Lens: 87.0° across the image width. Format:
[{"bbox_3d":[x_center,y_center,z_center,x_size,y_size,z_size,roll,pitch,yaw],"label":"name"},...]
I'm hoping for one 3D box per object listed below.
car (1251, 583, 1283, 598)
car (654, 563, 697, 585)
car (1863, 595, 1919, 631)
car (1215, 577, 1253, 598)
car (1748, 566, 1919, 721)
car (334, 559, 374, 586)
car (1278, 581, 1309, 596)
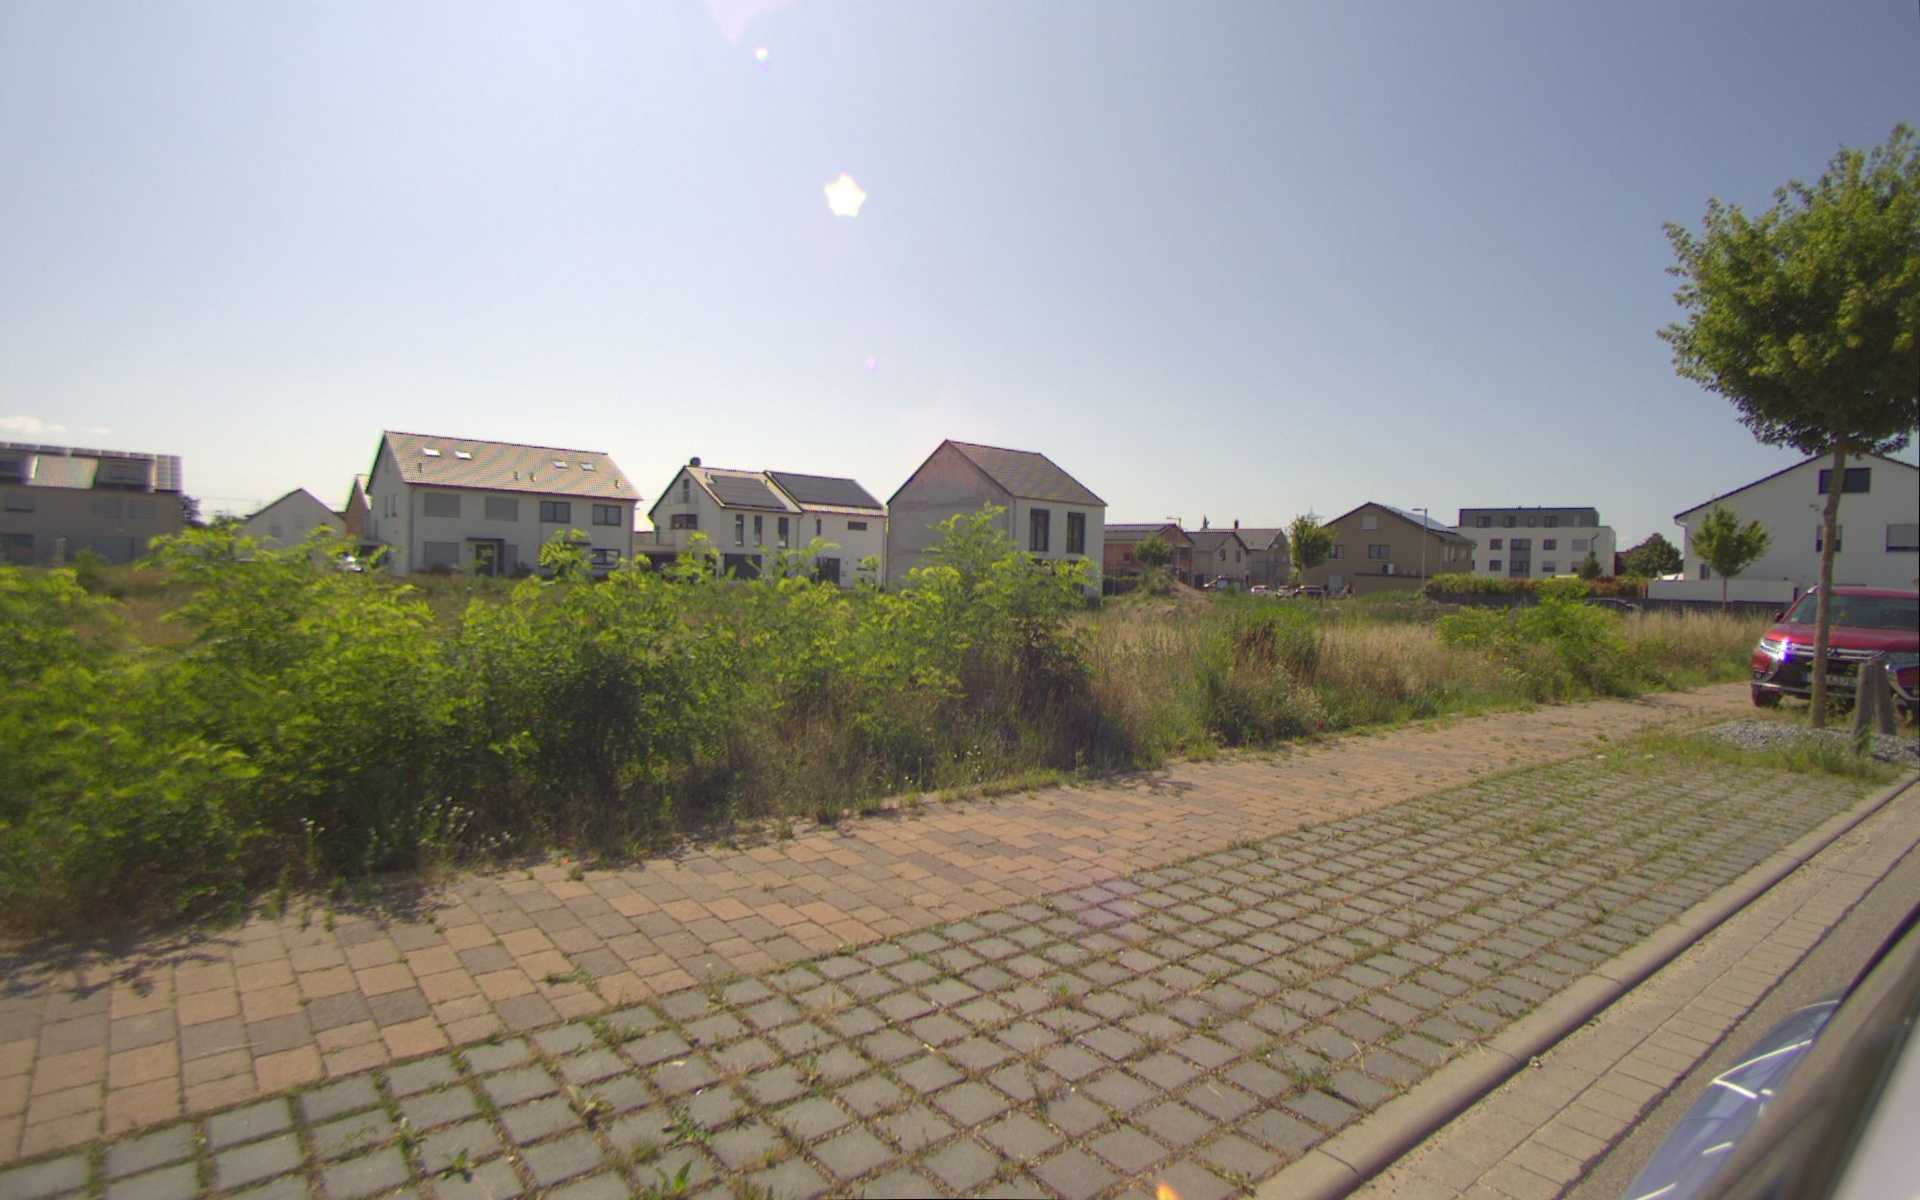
[{"bbox_3d":[31.695,-0.947,104.319,1.661,1.418,3.861,3,2,42],"label":"car"},{"bbox_3d":[-20.651,-1.888,73.334,1.781,1.531,4.001,1,1,-35],"label":"car"},{"bbox_3d":[43.730,0.636,45.572,1.926,1.577,4.345,1,1,-41],"label":"car"},{"bbox_3d":[26.872,-1.209,99.147,1.993,2.038,3.940,3,2,42],"label":"car"},{"bbox_3d":[11.968,0.498,13.174,4.355,1.683,1.781,1,2,-40],"label":"car"},{"bbox_3d":[-36.607,-1.677,61.093,1.781,1.593,4.001,1,1,-35],"label":"car"},{"bbox_3d":[35.892,-1.191,109.010,1.743,1.521,3.940,3,2,42],"label":"car"}]
